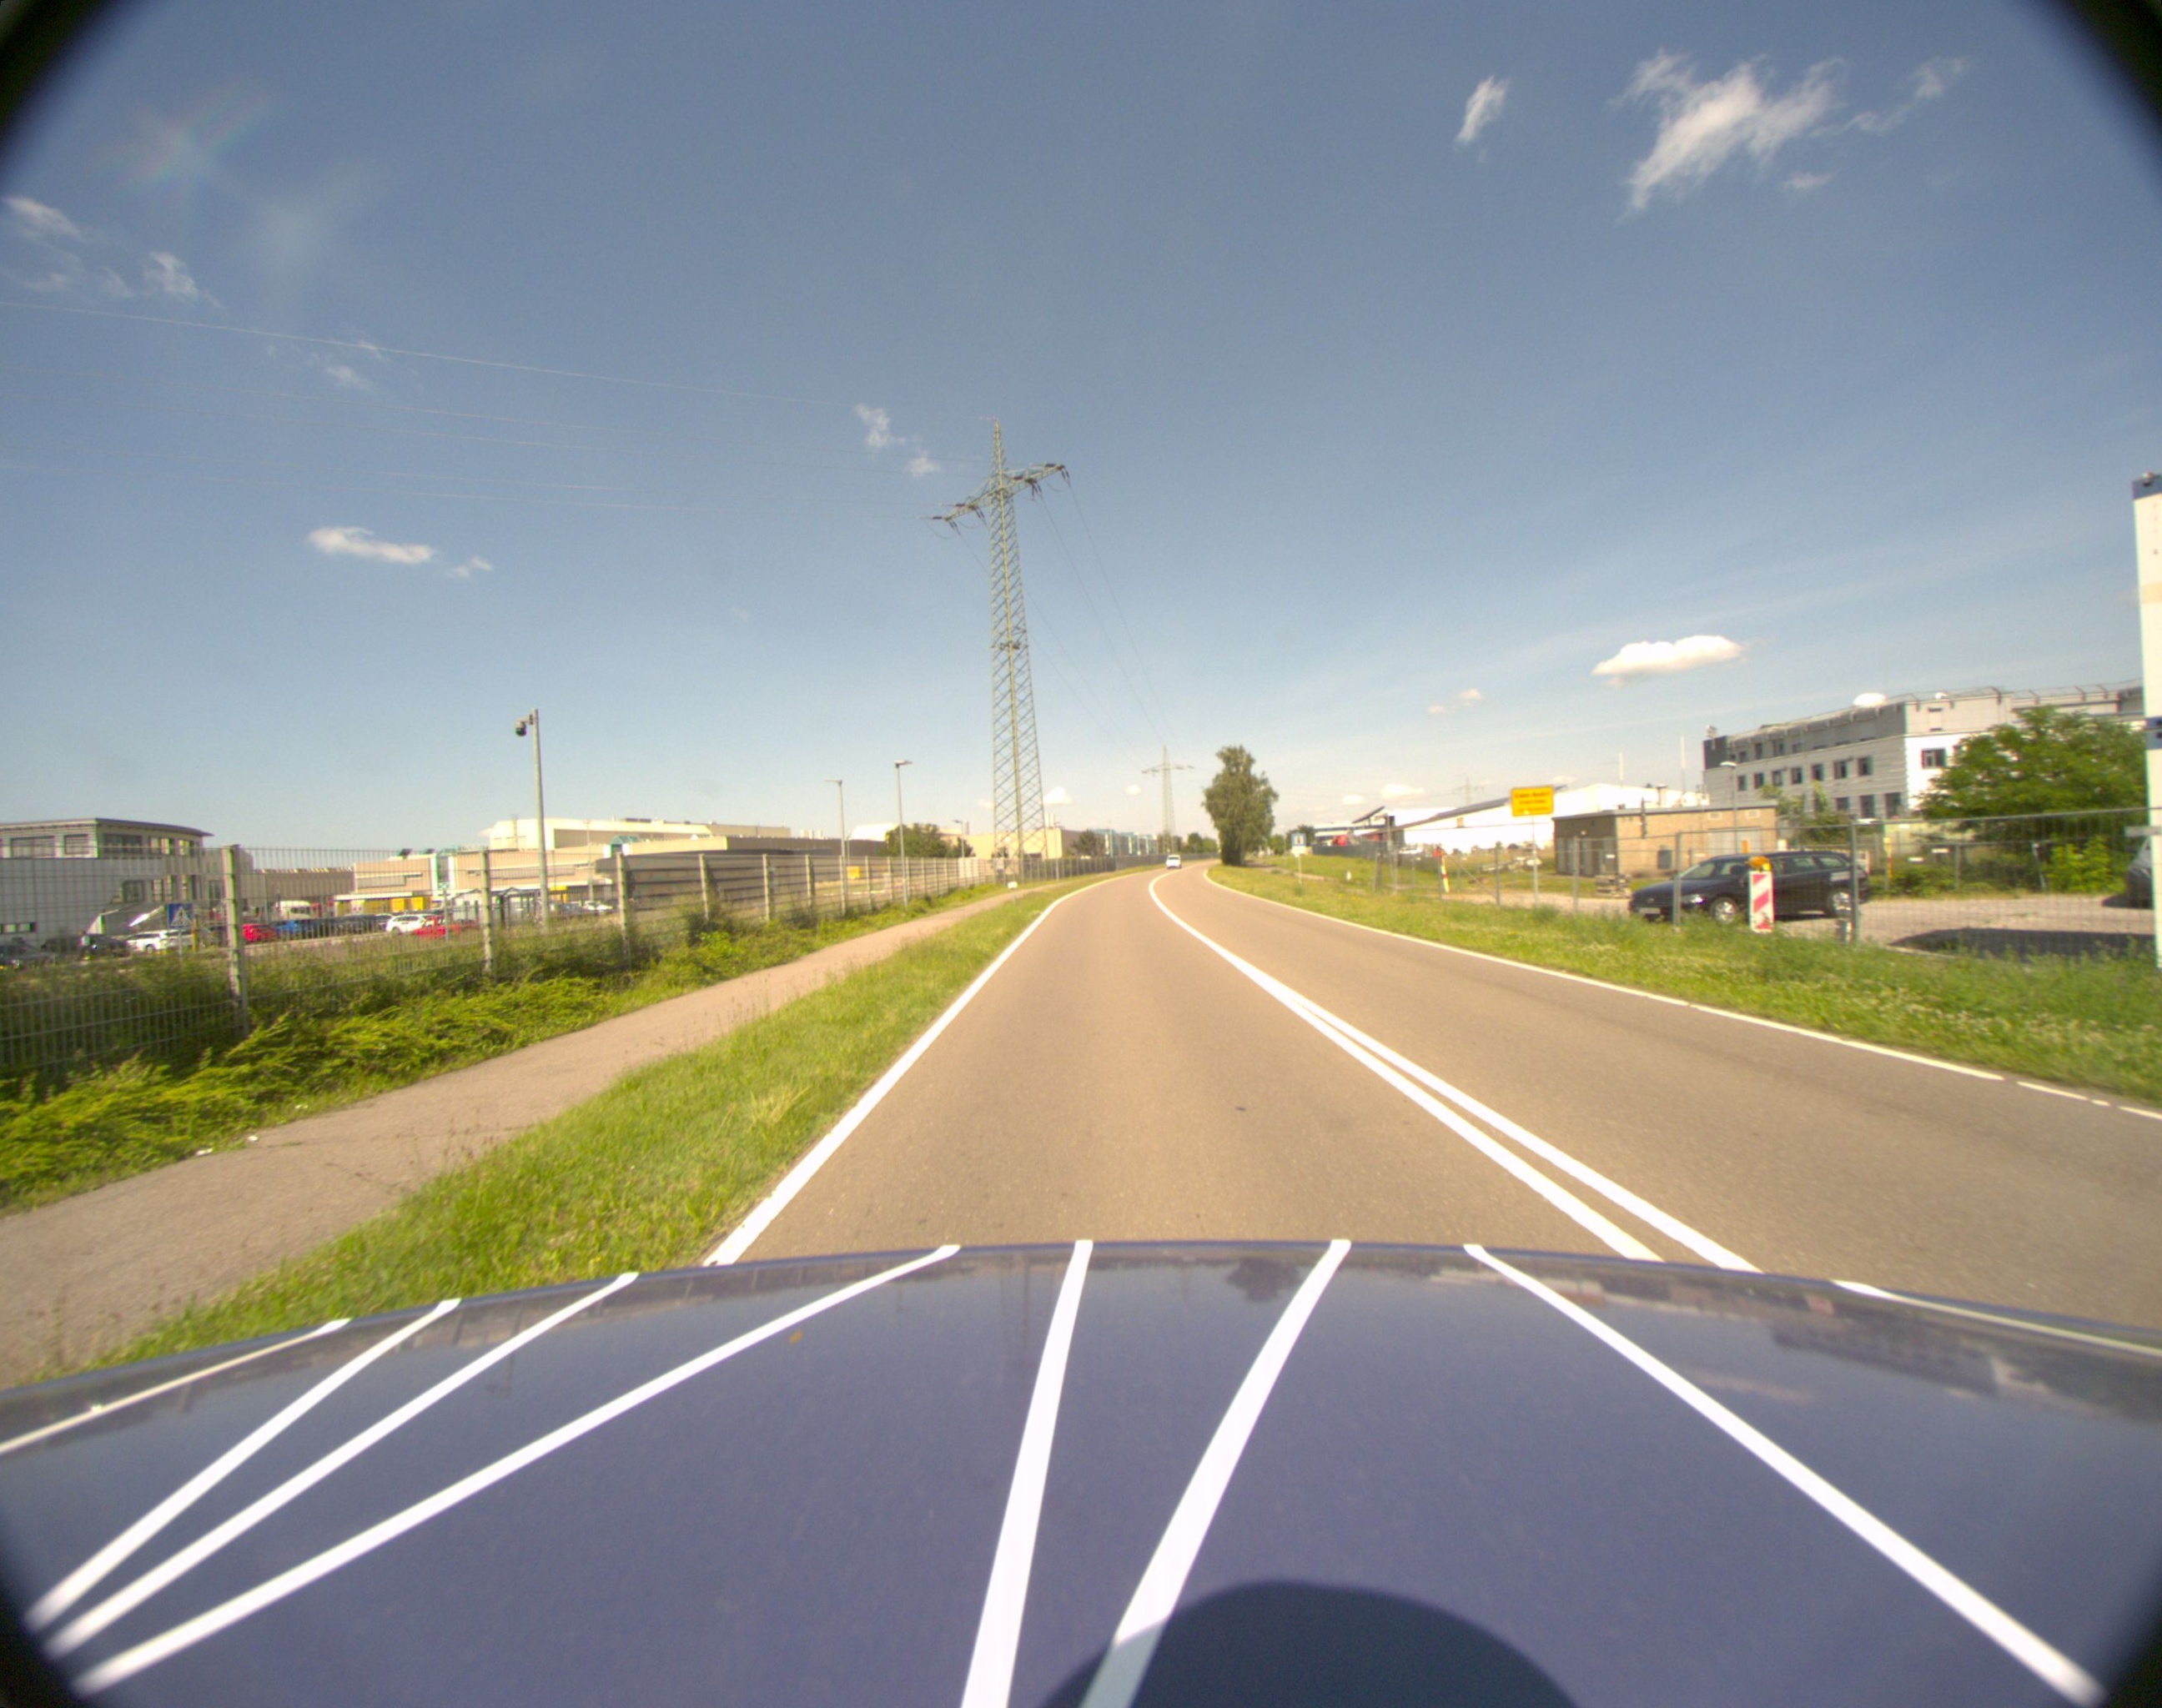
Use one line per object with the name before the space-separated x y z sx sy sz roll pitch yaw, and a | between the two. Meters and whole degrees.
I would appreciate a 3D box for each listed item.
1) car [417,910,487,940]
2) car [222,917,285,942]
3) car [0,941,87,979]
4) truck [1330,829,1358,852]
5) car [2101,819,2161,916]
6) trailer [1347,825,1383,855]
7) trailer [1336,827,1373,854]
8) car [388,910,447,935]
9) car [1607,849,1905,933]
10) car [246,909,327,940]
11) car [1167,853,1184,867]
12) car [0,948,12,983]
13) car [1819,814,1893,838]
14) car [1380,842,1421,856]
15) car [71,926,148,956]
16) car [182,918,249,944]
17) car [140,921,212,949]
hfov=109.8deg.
car | -38.491 4.315 46.519 3.148 1.525 1.456 -4 0 6
car | -59.307 5.401 54.465 3.053 1.525 1.472 -4 0 7
car | -49.798 5.055 36.241 3.053 1.525 1.472 -4 0 7
truck | 42.779 -2.192 123.762 3.106 3.624 10.603 -2 1 13
car | 24.311 0.185 16.371 5.028 1.856 1.996 -4 0 -28
trailer | 37.221 -1.797 99.864 3.404 3.624 8.666 -2 1 13
trailer | 39.905 -1.988 111.337 3.295 3.624 14.938 -2 1 13
car | -48.196 4.969 55.223 3.053 1.525 1.472 -4 0 7
car | 14.383 0.741 16.338 4.985 1.408 1.999 -3 0 -8
car | -62.760 5.561 60.043 4.746 2.002 2.001 -4 0 11
car | 12.948 0.846 103.559 1.835 1.796 4.834 -2 0 12
car | -49.931 5.083 33.759 3.053 1.525 1.472 -4 0 7
car | 70.235 -2.498 69.012 1.745 1.999 5.532 -3 0 10
car | 35.728 -0.510 84.981 3.993 1.335 1.749 -3 0 14
car | -59.598 5.312 46.619 3.053 1.525 1.472 -4 0 7
car | -59.158 5.264 51.950 3.053 1.525 1.472 -4 0 7
car | -58.827 5.258 49.409 3.053 1.525 1.472 -4 0 7
